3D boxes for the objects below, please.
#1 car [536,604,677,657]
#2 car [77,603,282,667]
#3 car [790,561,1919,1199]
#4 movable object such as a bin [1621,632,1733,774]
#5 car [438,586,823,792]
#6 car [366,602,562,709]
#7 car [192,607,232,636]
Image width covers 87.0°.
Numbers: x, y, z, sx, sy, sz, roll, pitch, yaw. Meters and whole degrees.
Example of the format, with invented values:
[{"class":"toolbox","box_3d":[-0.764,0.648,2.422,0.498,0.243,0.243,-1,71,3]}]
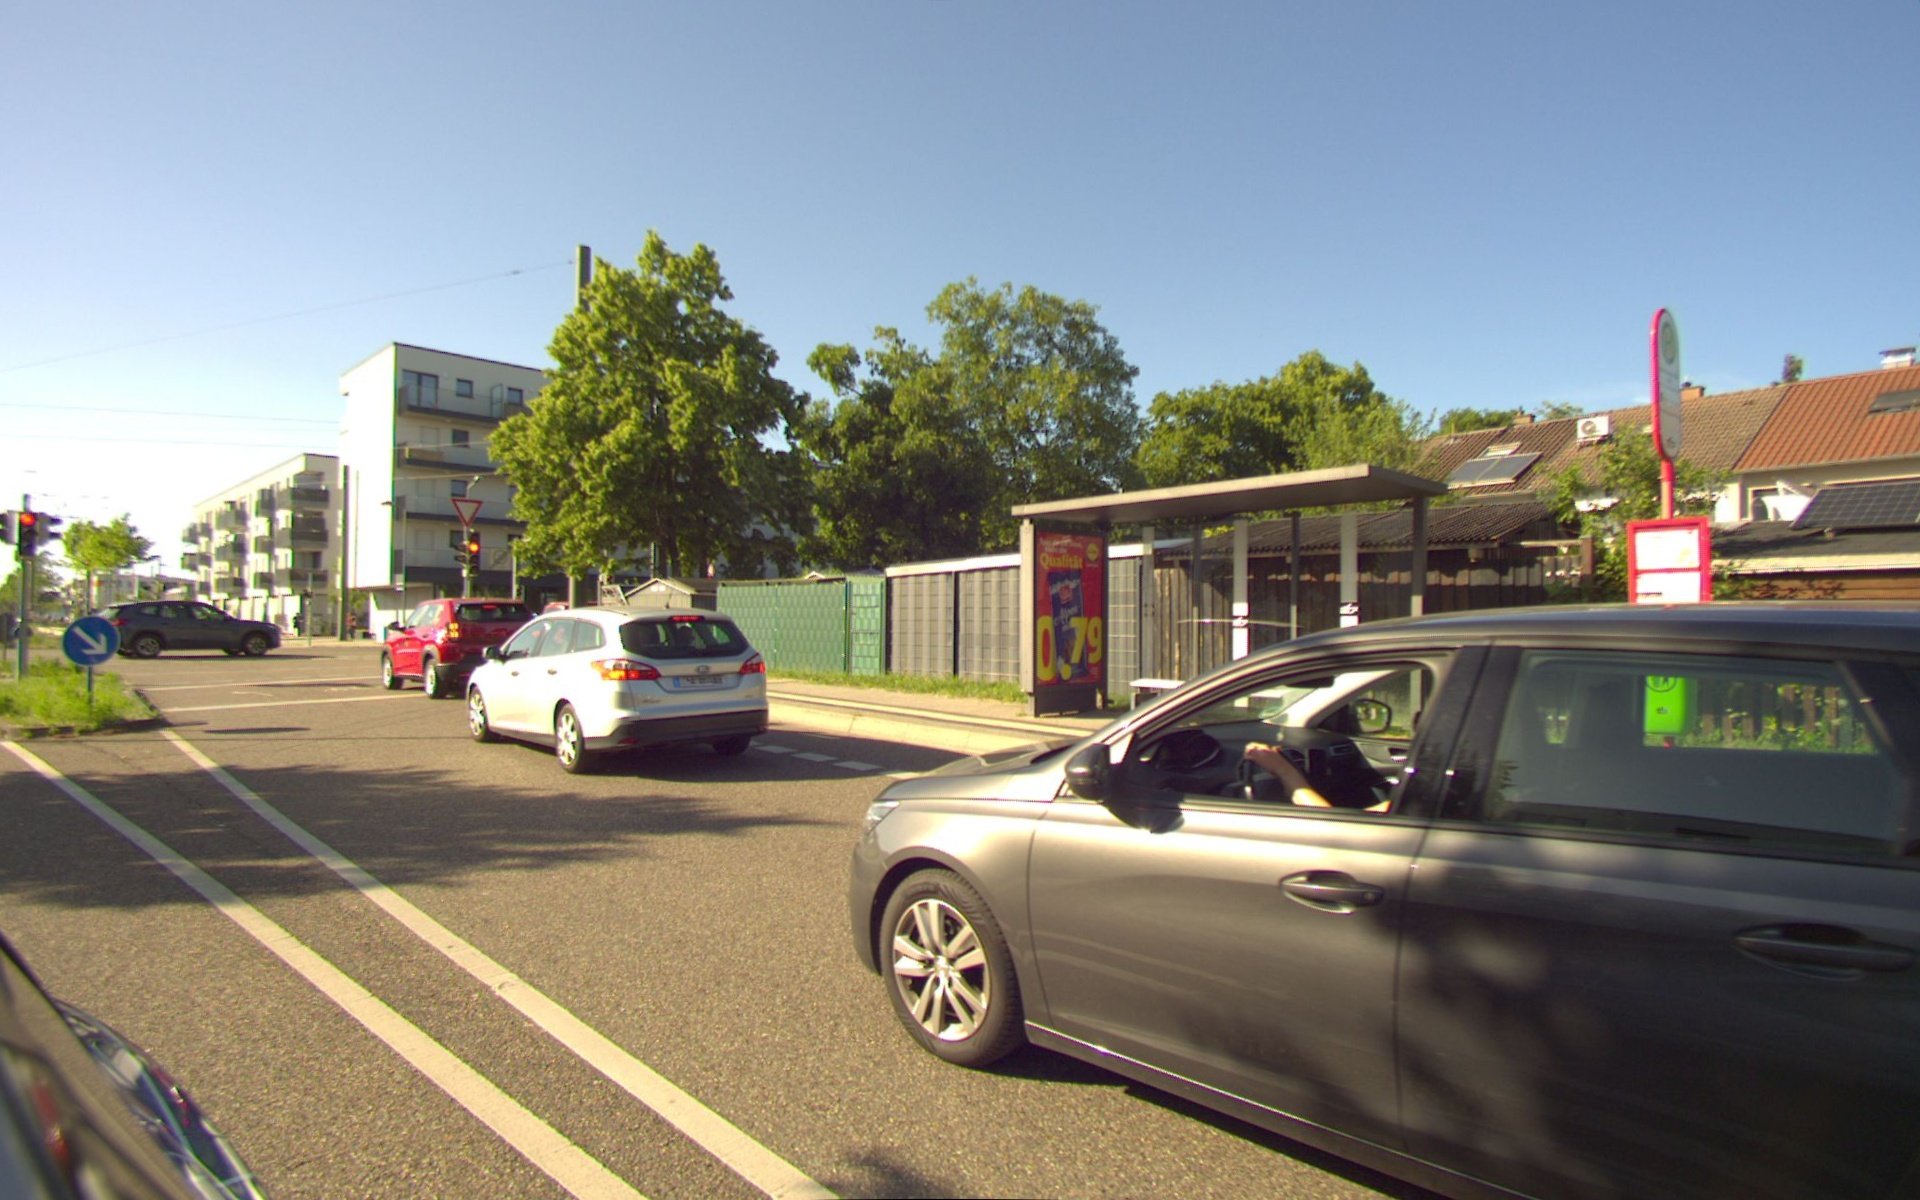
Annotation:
[{"class":"car","box_3d":[-14.387,1.224,41.445,2.128,1.984,5.014,1,0,41]},{"class":"car","box_3d":[-22.735,1.022,29.643,1.997,1.685,4.353,1,-1,37]},{"class":"car","box_3d":[1.680,0.674,2.748,4.452,1.454,1.971,-1,-1,44]},{"class":"movable object such as a bin","box_3d":[5.464,0.757,7.714,0.585,0.975,0.559,-4,1,-42]},{"class":"car","box_3d":[-3.559,0.728,10.334,2.182,1.603,4.541,1,-1,-40]},{"class":"car","box_3d":[-8.565,0.866,17.304,1.916,1.601,4.186,1,-2,-42]},{"class":"car","box_3d":[-56.672,1.587,76.662,1.970,2.029,4.004,2,-1,-43]}]
